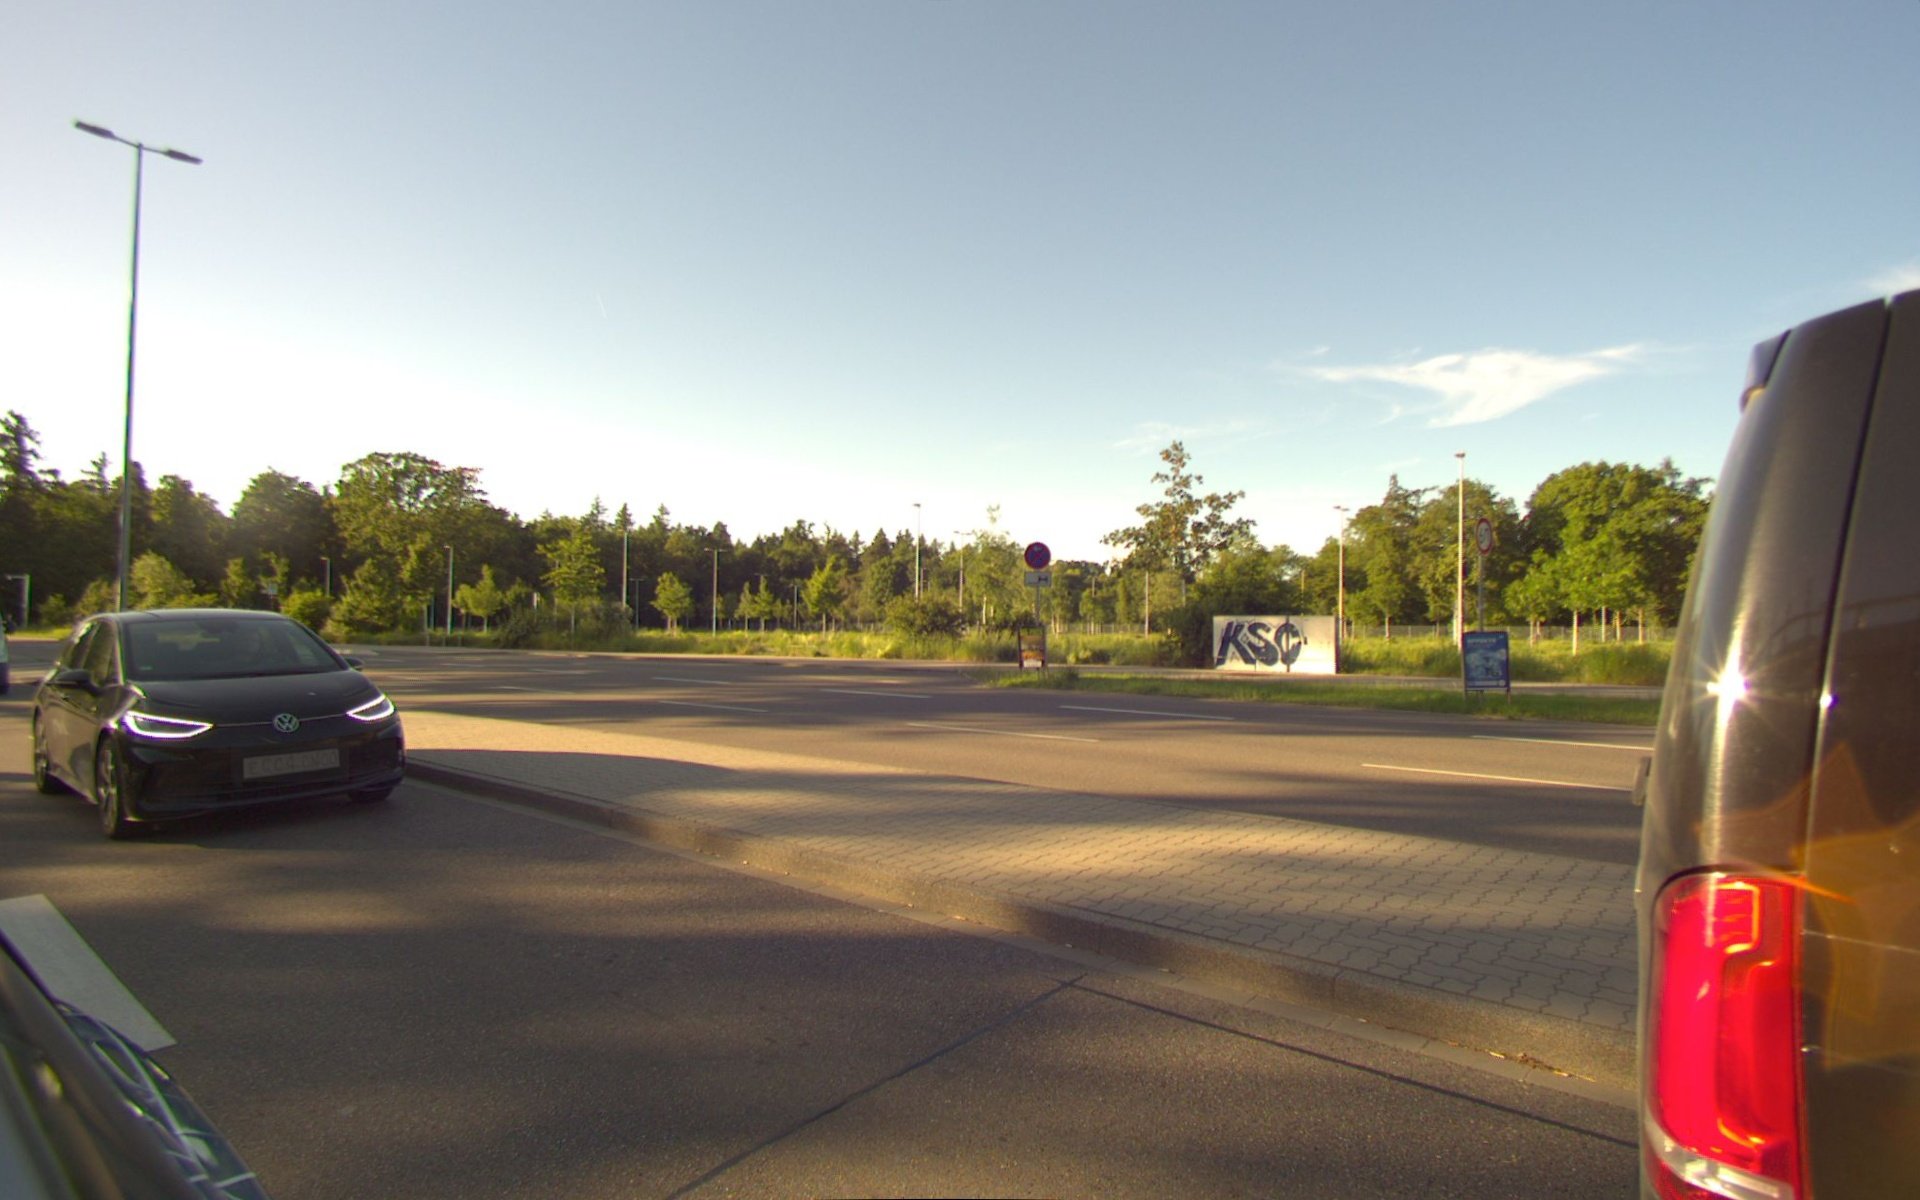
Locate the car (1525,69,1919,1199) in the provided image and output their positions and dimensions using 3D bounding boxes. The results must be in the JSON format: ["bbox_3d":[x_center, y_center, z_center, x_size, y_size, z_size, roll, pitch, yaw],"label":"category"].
[{"bbox_3d":[3.045,0.416,0.141,4.869,1.870,1.888,-3,-1,40],"label":"car"}]

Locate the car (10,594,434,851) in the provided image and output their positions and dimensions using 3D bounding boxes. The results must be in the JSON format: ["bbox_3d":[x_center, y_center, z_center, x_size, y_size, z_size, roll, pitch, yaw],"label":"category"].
[{"bbox_3d":[-6.049,0.755,8.129,3.997,1.548,1.859,-1,0,40],"label":"car"}]

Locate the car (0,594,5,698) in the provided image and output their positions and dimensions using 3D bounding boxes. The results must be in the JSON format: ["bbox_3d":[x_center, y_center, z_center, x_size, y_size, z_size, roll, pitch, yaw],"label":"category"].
[{"bbox_3d":[-20.822,0.954,20.298,5.044,1.977,1.859,-2,-1,40],"label":"car"}]
